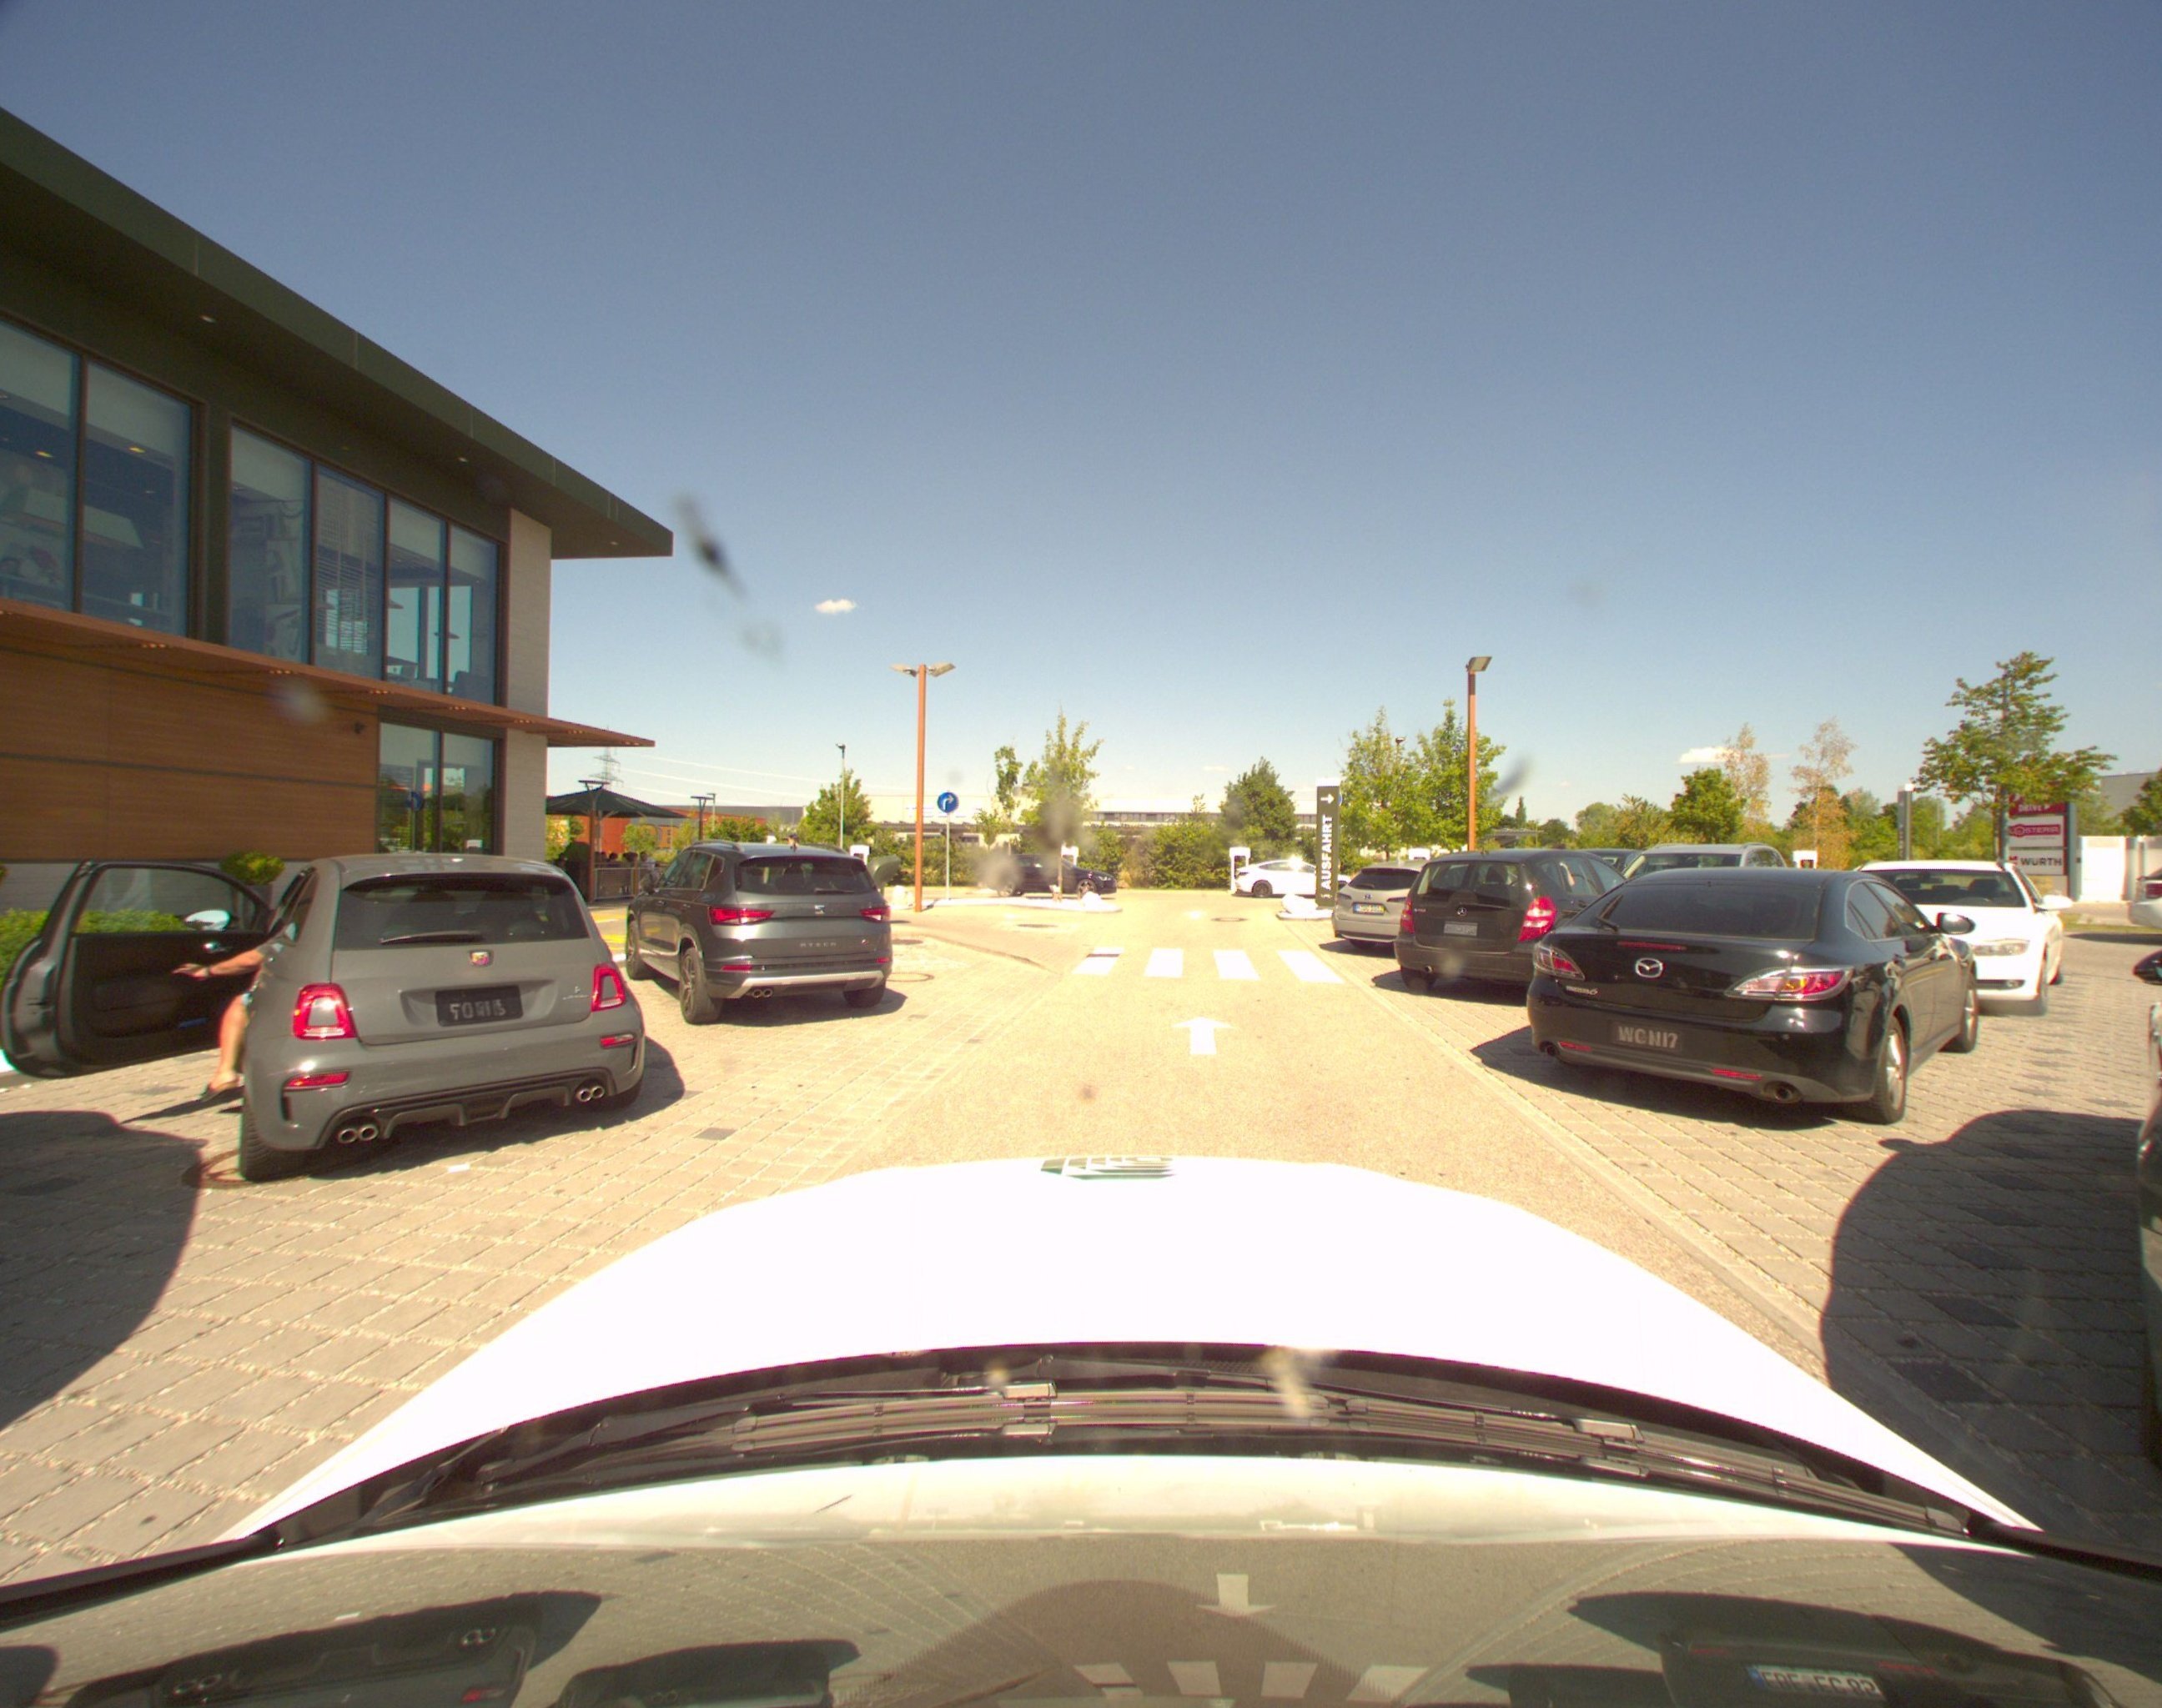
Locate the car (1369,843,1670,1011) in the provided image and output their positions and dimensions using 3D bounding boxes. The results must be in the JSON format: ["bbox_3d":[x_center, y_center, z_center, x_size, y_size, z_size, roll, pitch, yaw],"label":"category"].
[{"bbox_3d":[5.326,0.700,9.690,4.020,1.593,1.791,0,0,-40],"label":"car"}]

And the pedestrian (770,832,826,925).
[{"bbox_3d":[-5.564,0.467,16.072,0.798,1.768,0.896,0,0,-1],"label":"pedestrian"}]

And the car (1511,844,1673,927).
[{"bbox_3d":[10.906,0.572,17.255,4.214,1.537,1.873,-1,0,-43],"label":"car"}]

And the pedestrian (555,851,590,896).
[{"bbox_3d":[-14.581,0.556,23.370,0.520,1.258,0.716,0,0,3],"label":"pedestrian"}]

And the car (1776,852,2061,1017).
[{"bbox_3d":[9.356,0.688,9.002,4.102,1.408,1.773,0,0,-38],"label":"car"}]

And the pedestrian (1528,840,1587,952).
[{"bbox_3d":[7.500,0.640,12.818,0.565,1.713,0.605,0,-1,-30],"label":"pedestrian"}]

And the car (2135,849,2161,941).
[{"bbox_3d":[18.798,0.638,11.816,1.854,1.425,4.136,1,0,-42],"label":"car"}]

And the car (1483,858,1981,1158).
[{"bbox_3d":[4.864,0.762,5.905,4.093,1.449,1.809,0,0,-36],"label":"car"}]

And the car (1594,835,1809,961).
[{"bbox_3d":[9.684,0.571,12.609,4.087,1.640,1.728,0,0,-39],"label":"car"}]

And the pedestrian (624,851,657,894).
[{"bbox_3d":[-13.089,0.551,24.207,0.569,1.258,0.730,0,0,3],"label":"pedestrian"}]

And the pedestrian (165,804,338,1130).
[{"bbox_3d":[-4.621,0.583,4.575,0.616,1.685,0.438,0,-1,-38],"label":"pedestrian"}]

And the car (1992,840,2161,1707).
[{"bbox_3d":[4.123,0.742,2.184,4.563,1.511,1.866,0,0,-37],"label":"car"}]

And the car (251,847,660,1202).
[{"bbox_3d":[-4.096,0.704,5.162,1.577,1.482,3.373,1,0,-45],"label":"car"}]

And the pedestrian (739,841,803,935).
[{"bbox_3d":[-5.340,0.568,14.068,0.721,1.584,0.745,0,0,17],"label":"pedestrian"}]

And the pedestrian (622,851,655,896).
[{"bbox_3d":[-12.585,0.553,23.187,0.520,1.258,0.716,0,0,3],"label":"pedestrian"}]

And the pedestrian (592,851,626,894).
[{"bbox_3d":[-14.118,0.552,24.391,0.569,1.258,0.730,0,0,3],"label":"pedestrian"}]

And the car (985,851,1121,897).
[{"bbox_3d":[-0.856,0.669,26.505,4.177,1.441,1.701,0,-3,7],"label":"car"}]

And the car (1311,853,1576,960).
[{"bbox_3d":[6.026,0.721,13.316,4.682,1.447,1.816,-1,0,-35],"label":"car"}]

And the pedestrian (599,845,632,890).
[{"bbox_3d":[-13.259,0.386,23.205,0.520,1.258,0.635,0,0,3],"label":"pedestrian"}]

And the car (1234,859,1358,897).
[{"bbox_3d":[7.987,0.870,30.670,4.406,1.377,1.827,0,0,10],"label":"car"}]

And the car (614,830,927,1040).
[{"bbox_3d":[-3.476,0.621,8.591,1.799,1.603,4.179,3,0,-39],"label":"car"}]
